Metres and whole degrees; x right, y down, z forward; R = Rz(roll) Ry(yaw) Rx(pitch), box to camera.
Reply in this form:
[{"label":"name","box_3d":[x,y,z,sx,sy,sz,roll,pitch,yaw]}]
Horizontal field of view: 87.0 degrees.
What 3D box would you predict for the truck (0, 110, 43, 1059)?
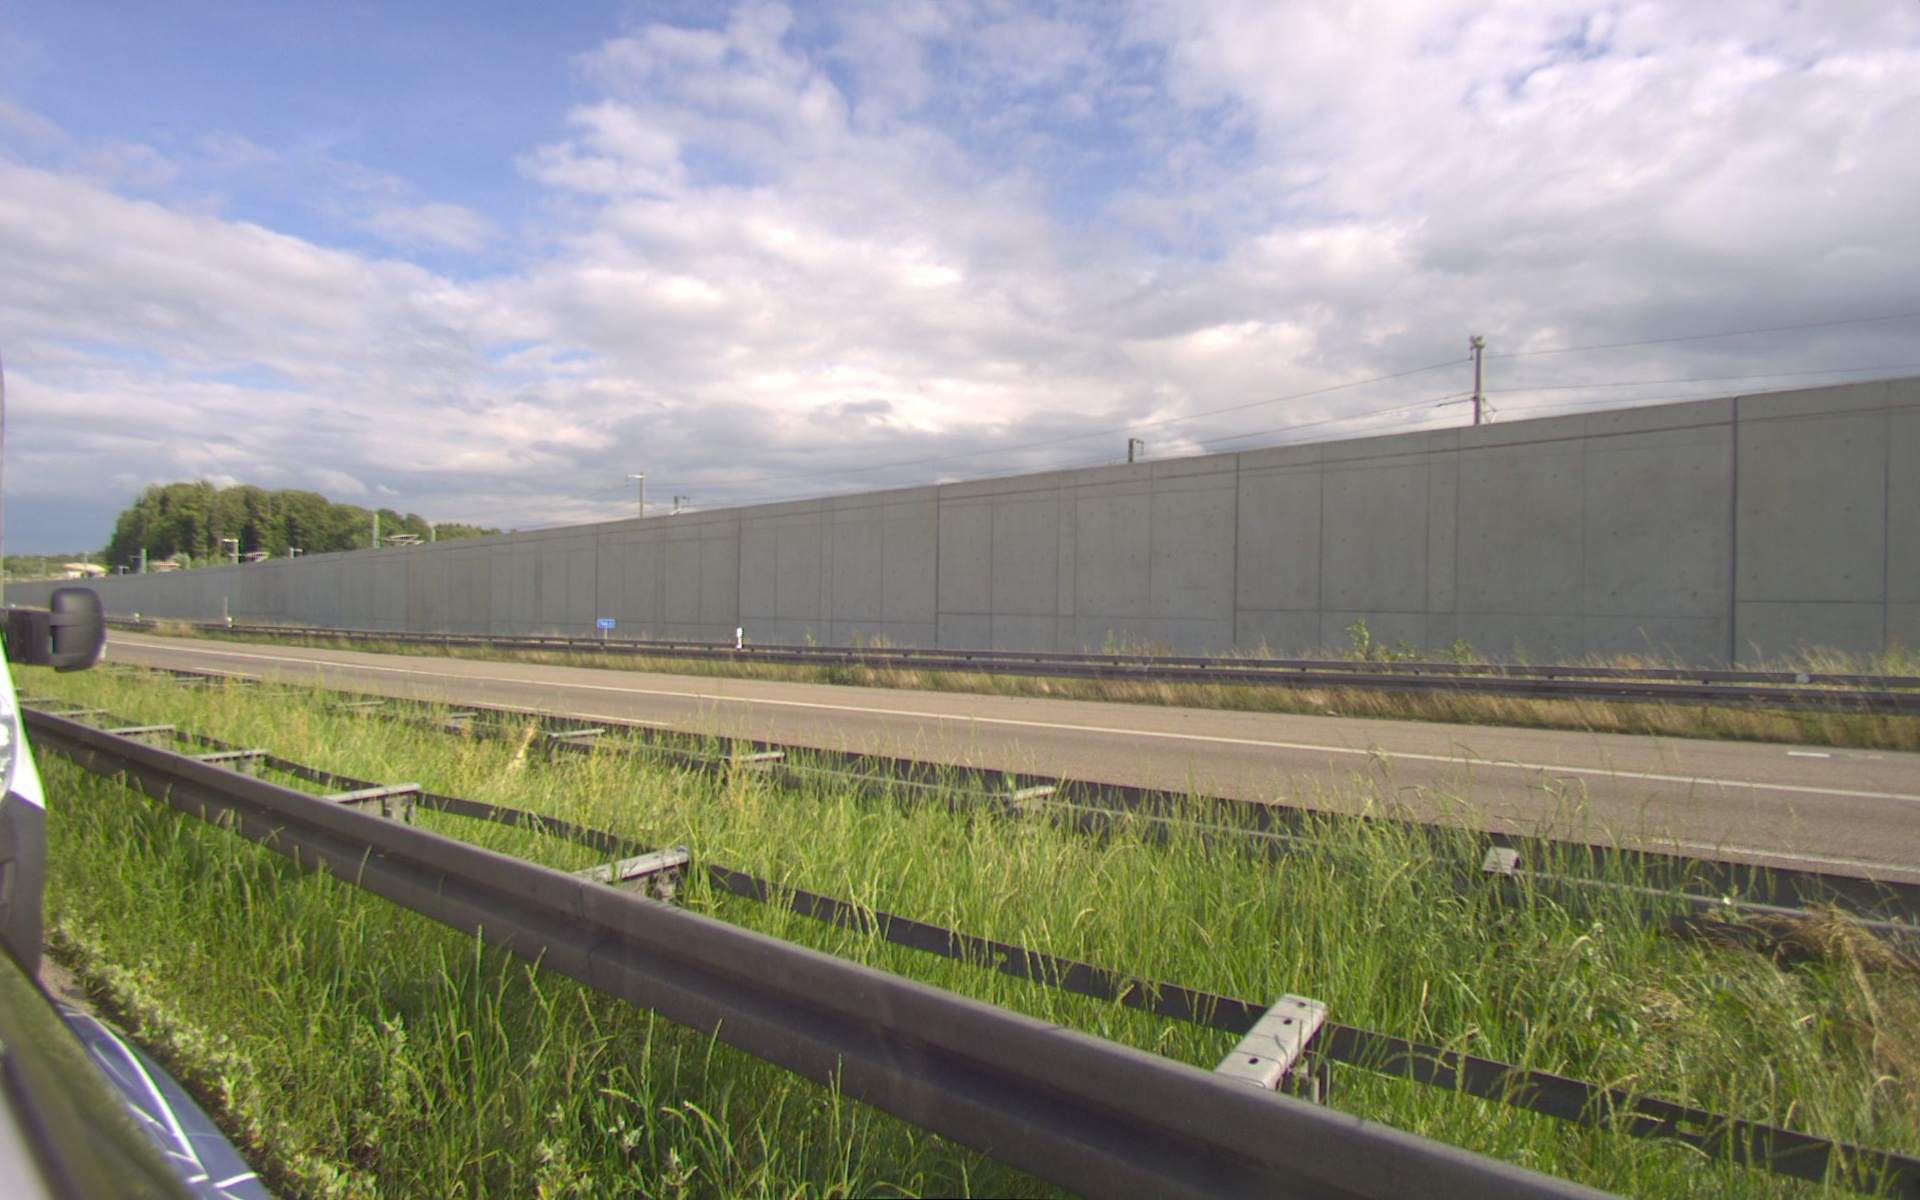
[{"label":"truck","box_3d":[-6.688,-0.017,5.217,7.800,3.129,2.033,-1,0,41]}]
